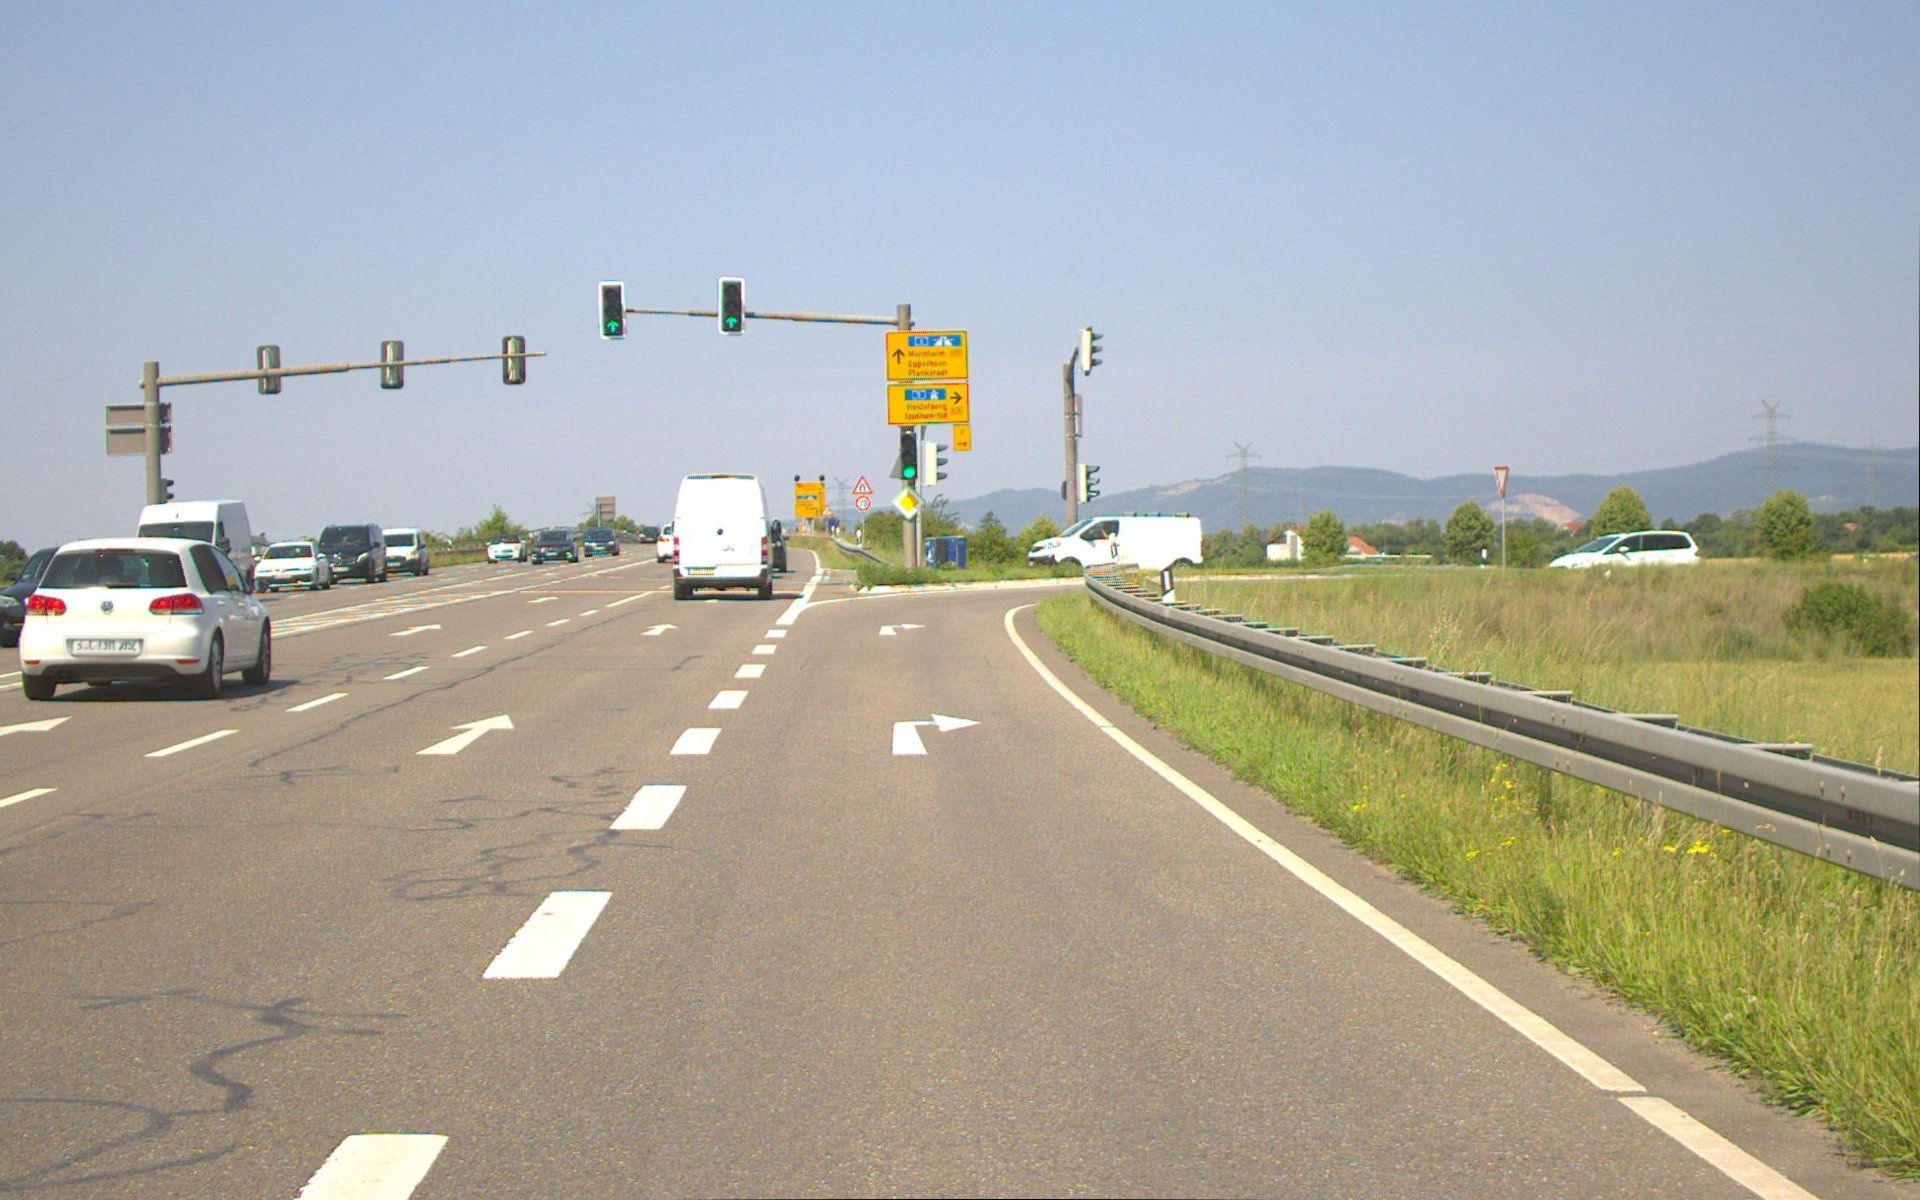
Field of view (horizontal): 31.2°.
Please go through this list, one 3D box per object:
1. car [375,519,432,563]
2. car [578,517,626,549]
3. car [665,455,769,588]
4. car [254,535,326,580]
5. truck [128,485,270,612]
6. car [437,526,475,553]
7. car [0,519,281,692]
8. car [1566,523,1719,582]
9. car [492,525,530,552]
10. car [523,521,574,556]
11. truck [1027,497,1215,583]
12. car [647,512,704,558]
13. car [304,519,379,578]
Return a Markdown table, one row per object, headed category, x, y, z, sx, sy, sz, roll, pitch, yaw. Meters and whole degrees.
| category | x | y | z | sx | sy | sz | roll | pitch | yaw |
| --- | --- | --- | --- | --- | --- | --- | --- | --- | --- |
| car | -20.457 | -2.157 | 126.390 | 1.602 | 1.576 | 3.333 | 0 | 0 | -1 |
| car | -19.061 | -3.578 | 183.091 | 1.993 | 1.612 | 4.000 | 0 | 0 | 2 |
| car | -5.049 | -1.618 | 71.910 | 1.993 | 2.686 | 4.970 | 0 | 1 | -2 |
| car | -19.325 | -1.215 | 99.284 | 1.462 | 1.269 | 3.333 | 0 | 0 | -1 |
| truck | -18.239 | -1.192 | 82.624 | 2.297 | 2.947 | 5.283 | 0 | 0 | -1 |
| car | -25.173 | -3.027 | 171.772 | 1.462 | 1.269 | 3.333 | 0 | 0 | -1 |
| car | -7.663 | 0.002 | 32.457 | 1.799 | 1.503 | 4.196 | -1 | 1 | -2 |
| car | 20.144 | -1.379 | 101.479 | 3.986 | 1.678 | 2.000 | 0 | 0 | -25 |
| car | -22.007 | -2.988 | 168.651 | 1.462 | 1.269 | 3.333 | 0 | 0 | -1 |
| car | -18.122 | -2.707 | 151.522 | 1.635 | 1.481 | 4.000 | 0 | 0 | 1 |
| truck | 4.512 | -1.662 | 96.492 | 4.842 | 2.312 | 2.001 | 0 | 0 | -16 |
| car | -11.087 | -2.526 | 134.138 | 1.993 | 1.697 | 4.275 | 0 | 0 | -2 |
| car | -19.954 | -1.650 | 111.015 | 1.873 | 1.881 | 3.333 | 0 | 0 | -1 |
